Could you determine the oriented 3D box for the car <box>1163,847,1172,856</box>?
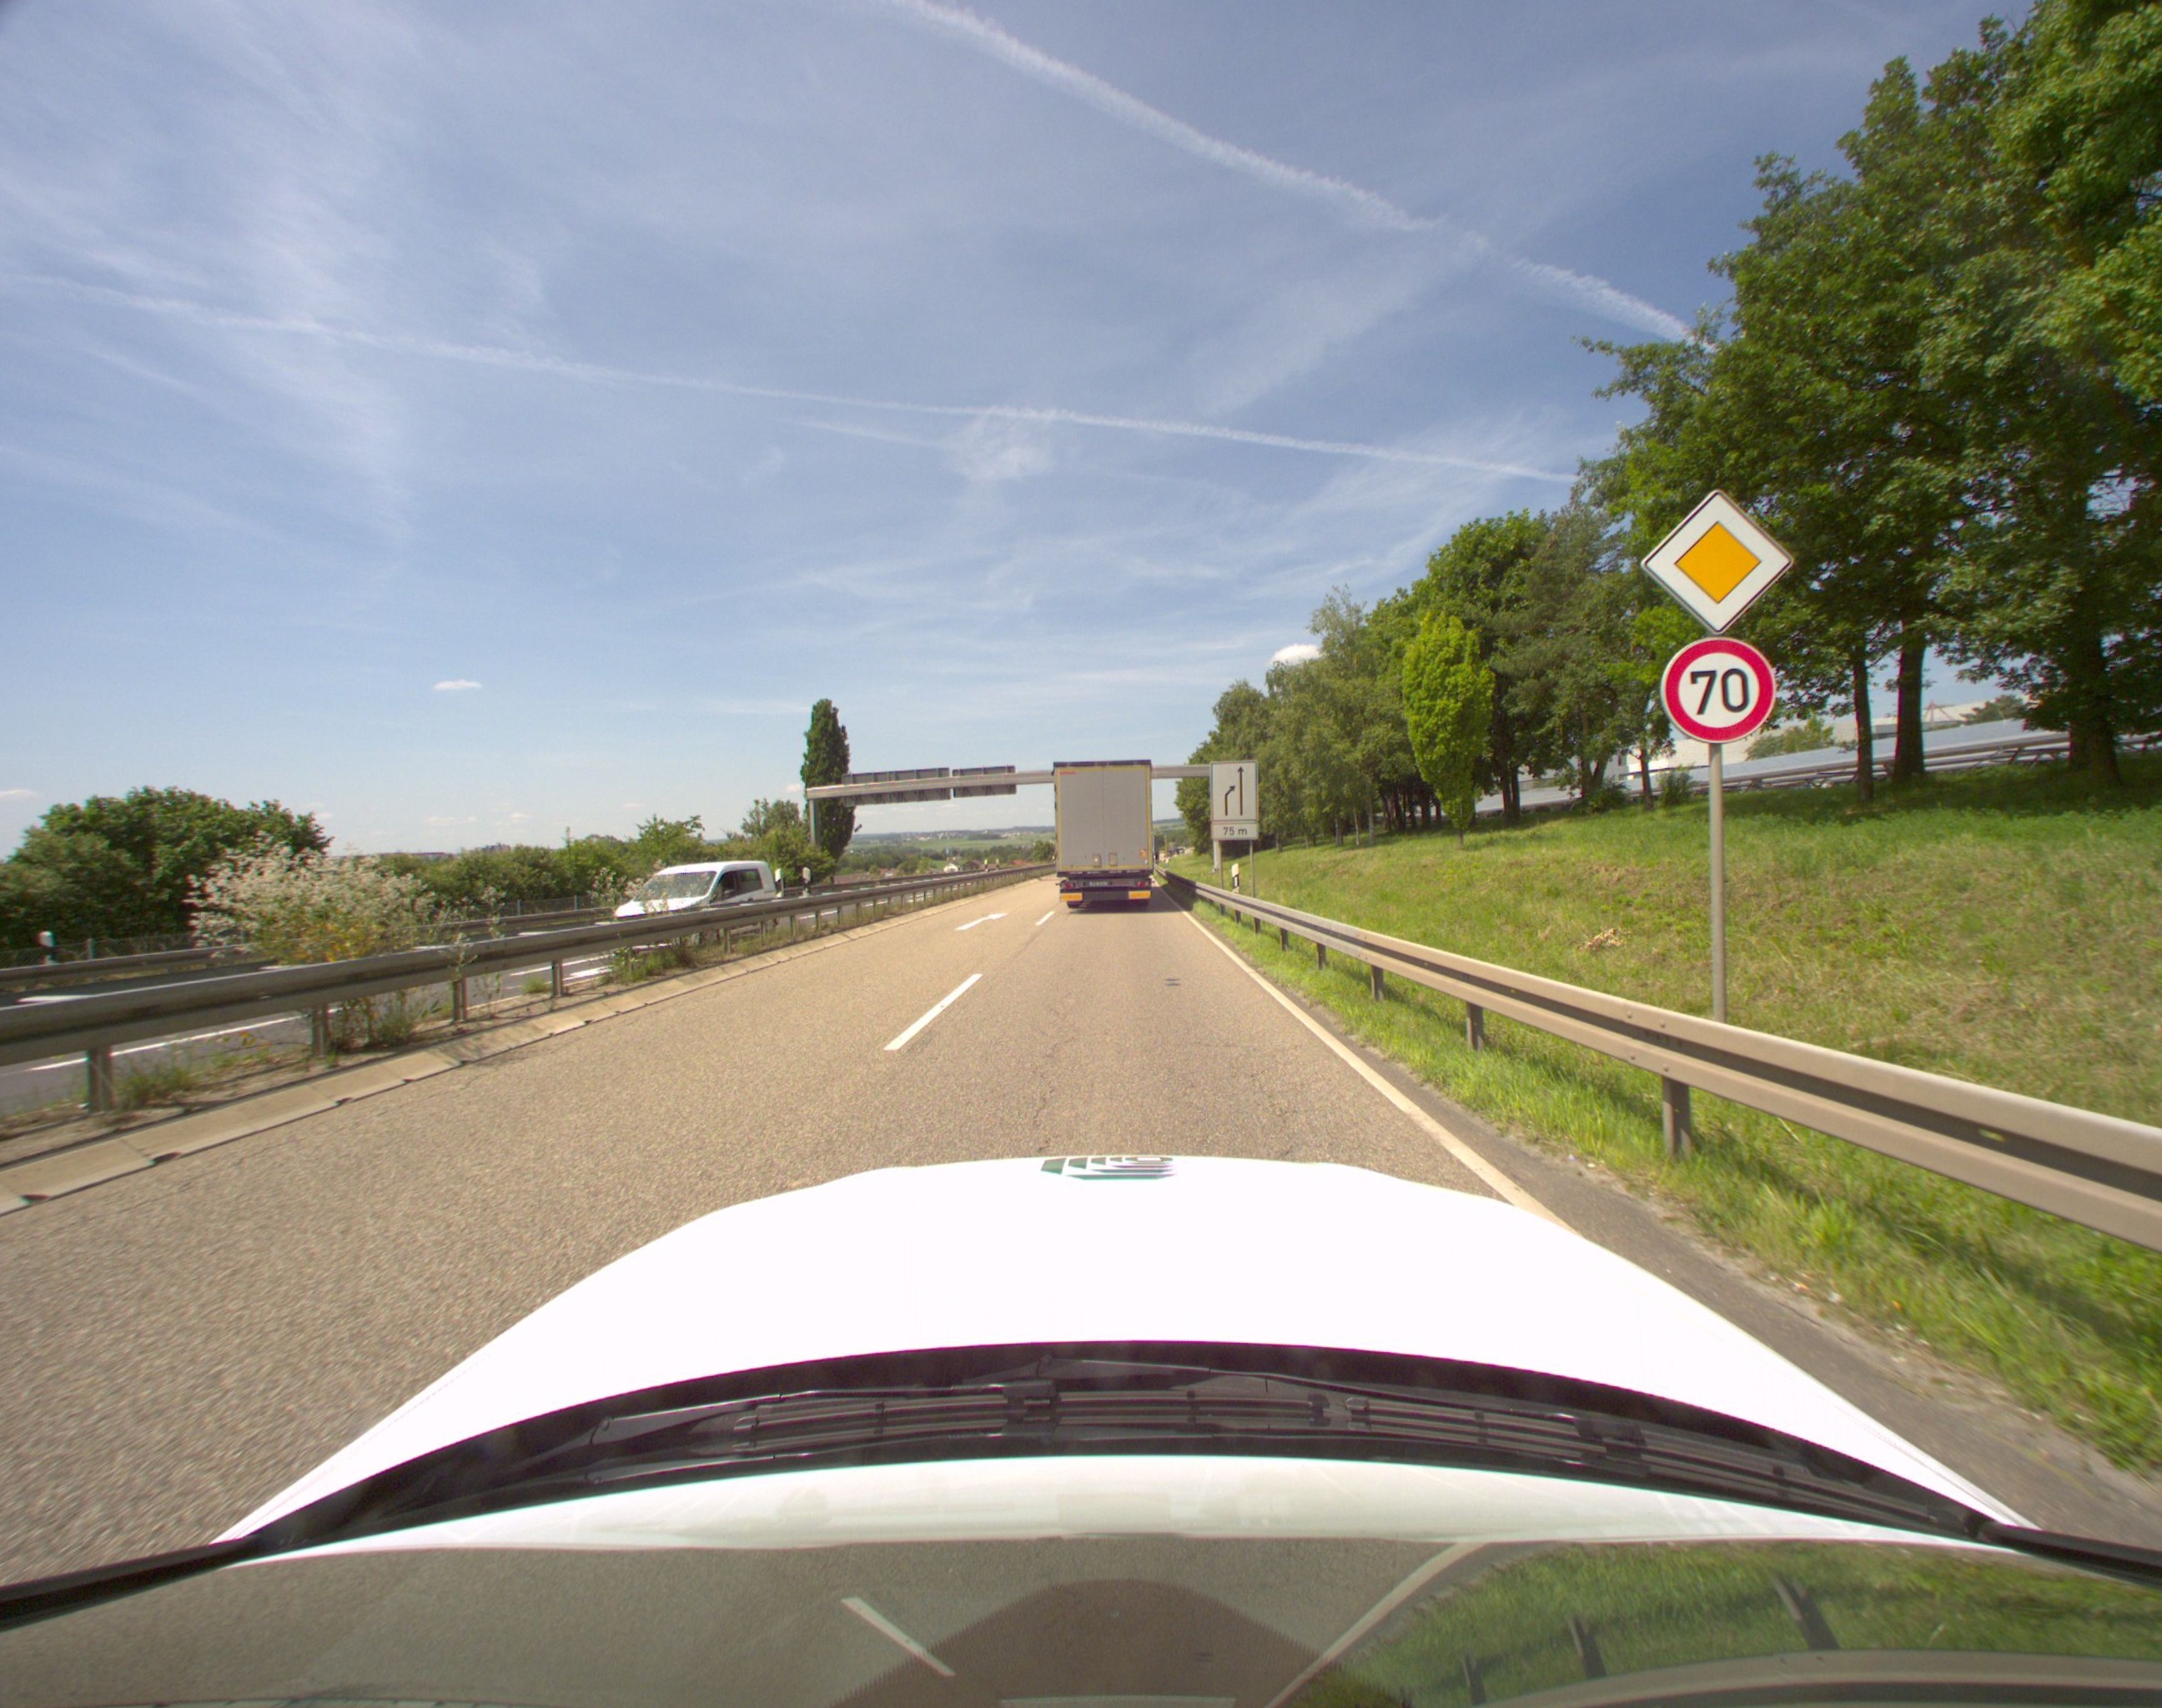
[{"bbox_3d":[18.219,-0.547,171.733,1.779,1.688,4.003,-2,-1,3],"label":"car"}]

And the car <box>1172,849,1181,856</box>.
[{"bbox_3d":[24.430,-0.411,208.509,1.779,1.688,4.003,-2,-1,3],"label":"car"}]

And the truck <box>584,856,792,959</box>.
[{"bbox_3d":[-7.978,1.009,17.120,1.841,1.749,4.541,-5,-1,3],"label":"truck"}]

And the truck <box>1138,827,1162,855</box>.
[{"bbox_3d":[10.141,-1.754,118.759,2.640,3.764,10.186,-2,-1,9],"label":"truck"}]

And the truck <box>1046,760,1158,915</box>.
[{"bbox_3d":[0.850,-0.441,26.598,2.787,3.929,11.351,-1,0,3],"label":"truck"}]

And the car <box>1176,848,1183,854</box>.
[{"bbox_3d":[27.650,-0.757,228.418,1.779,1.688,4.003,-2,-1,3],"label":"car"}]
